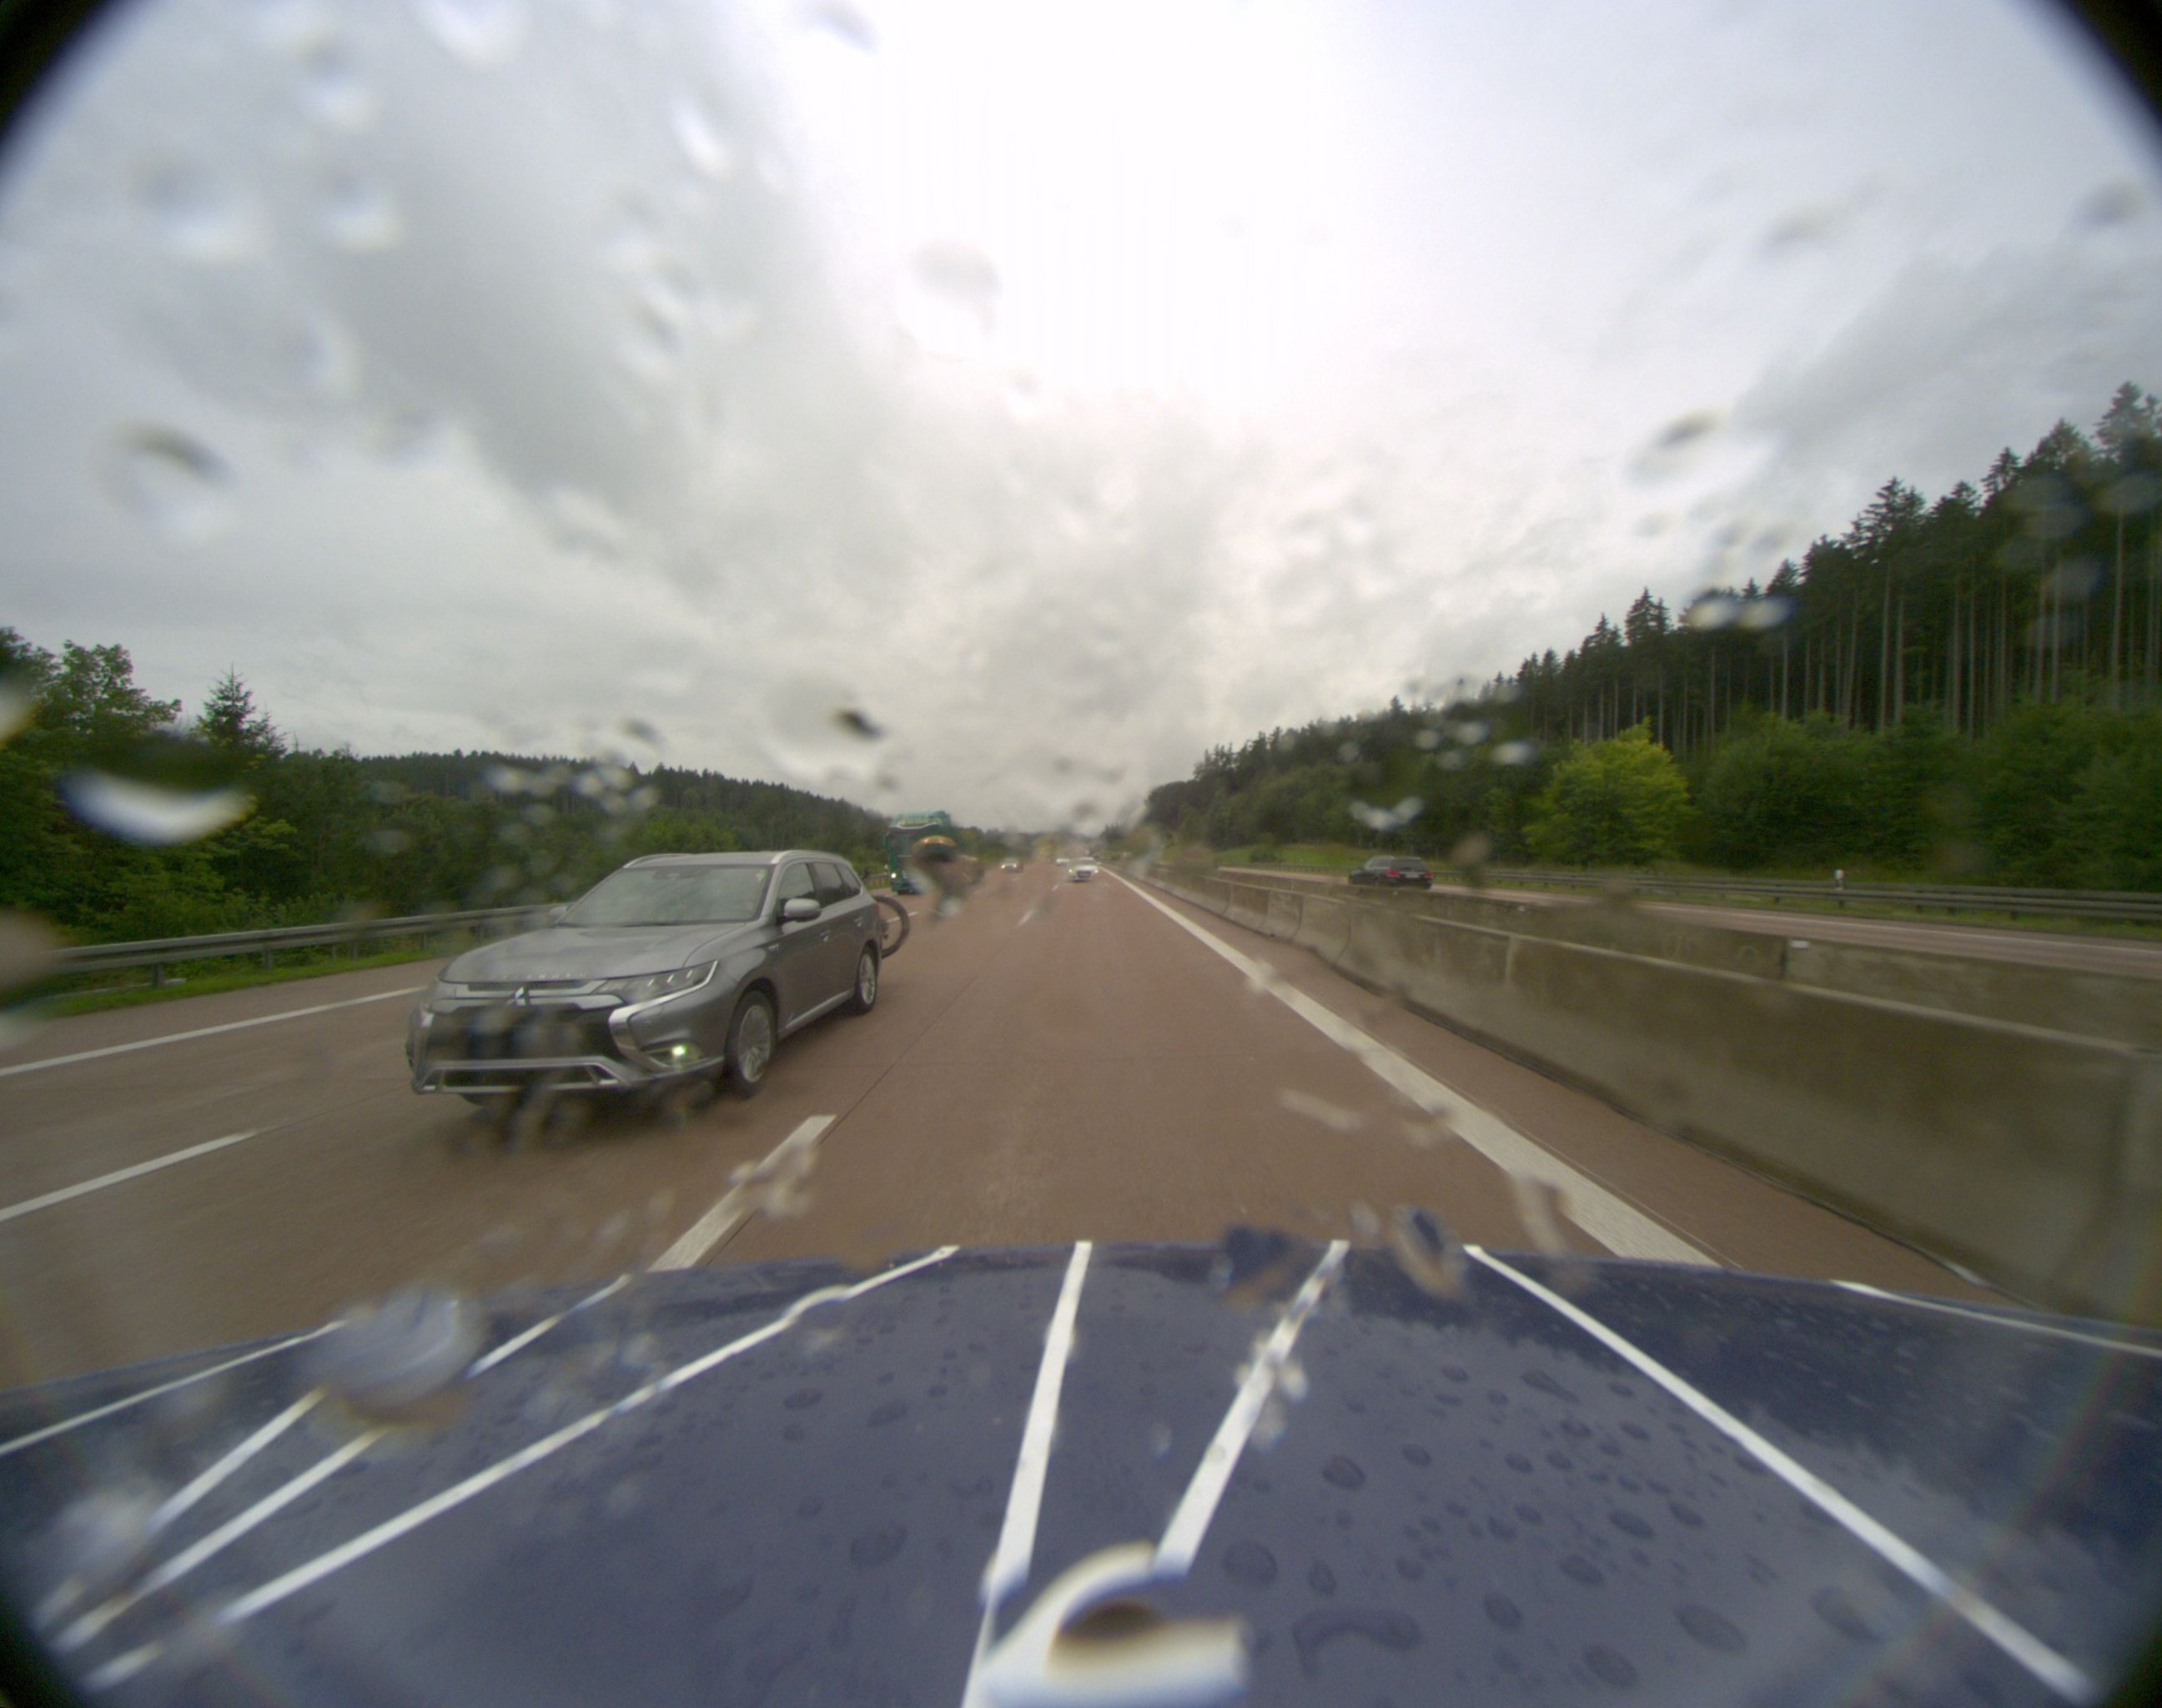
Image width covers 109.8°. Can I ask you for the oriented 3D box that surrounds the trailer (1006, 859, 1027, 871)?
[{"bbox_3d":[-7.089,1.179,83.704,1.977,1.159,4.638,-2,0,-1],"label":"trailer"}]

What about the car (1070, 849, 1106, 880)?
[{"bbox_3d":[0.363,0.575,46.000,1.999,1.623,4.929,-2,1,-1],"label":"car"}]

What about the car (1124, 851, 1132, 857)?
[{"bbox_3d":[11.731,0.010,189.503,1.720,1.573,4.315,0,1,0],"label":"car"}]

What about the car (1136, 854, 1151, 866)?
[{"bbox_3d":[9.702,0.930,117.947,1.998,1.551,4.945,-2,1,1],"label":"car"}]

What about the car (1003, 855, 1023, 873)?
[{"bbox_3d":[-7.026,1.026,78.995,1.702,1.602,4.974,-1,1,-2],"label":"car"}]

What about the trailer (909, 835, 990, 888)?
[{"bbox_3d":[-7.581,0.387,45.571,2.889,2.660,11.396,-2,0,-1],"label":"trailer"}]

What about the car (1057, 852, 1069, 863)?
[{"bbox_3d":[-2.978,0.587,126.649,1.999,1.623,4.929,-2,1,-1],"label":"car"}]

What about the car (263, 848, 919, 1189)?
[{"bbox_3d":[-3.110,0.822,6.787,1.998,1.583,5.818,-2,1,0],"label":"car"}]

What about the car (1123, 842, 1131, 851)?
[{"bbox_3d":[14.426,-2.344,238.406,2.229,2.570,6.253,-2,1,0],"label":"car"}]

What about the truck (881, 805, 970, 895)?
[{"bbox_3d":[-7.508,-0.203,37.658,2.905,3.942,6.987,-2,1,-1],"label":"truck"}]

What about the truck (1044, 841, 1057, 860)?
[{"bbox_3d":[-6.823,-0.809,168.989,2.610,4.190,6.248,-2,2,-1],"label":"truck"}]

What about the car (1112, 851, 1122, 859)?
[{"bbox_3d":[7.999,0.245,169.350,1.869,1.542,4.807,-2,0,1],"label":"car"}]

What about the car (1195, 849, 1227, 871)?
[{"bbox_3d":[12.975,0.561,76.102,2.286,1.851,5.727,-2,1,1],"label":"car"}]
